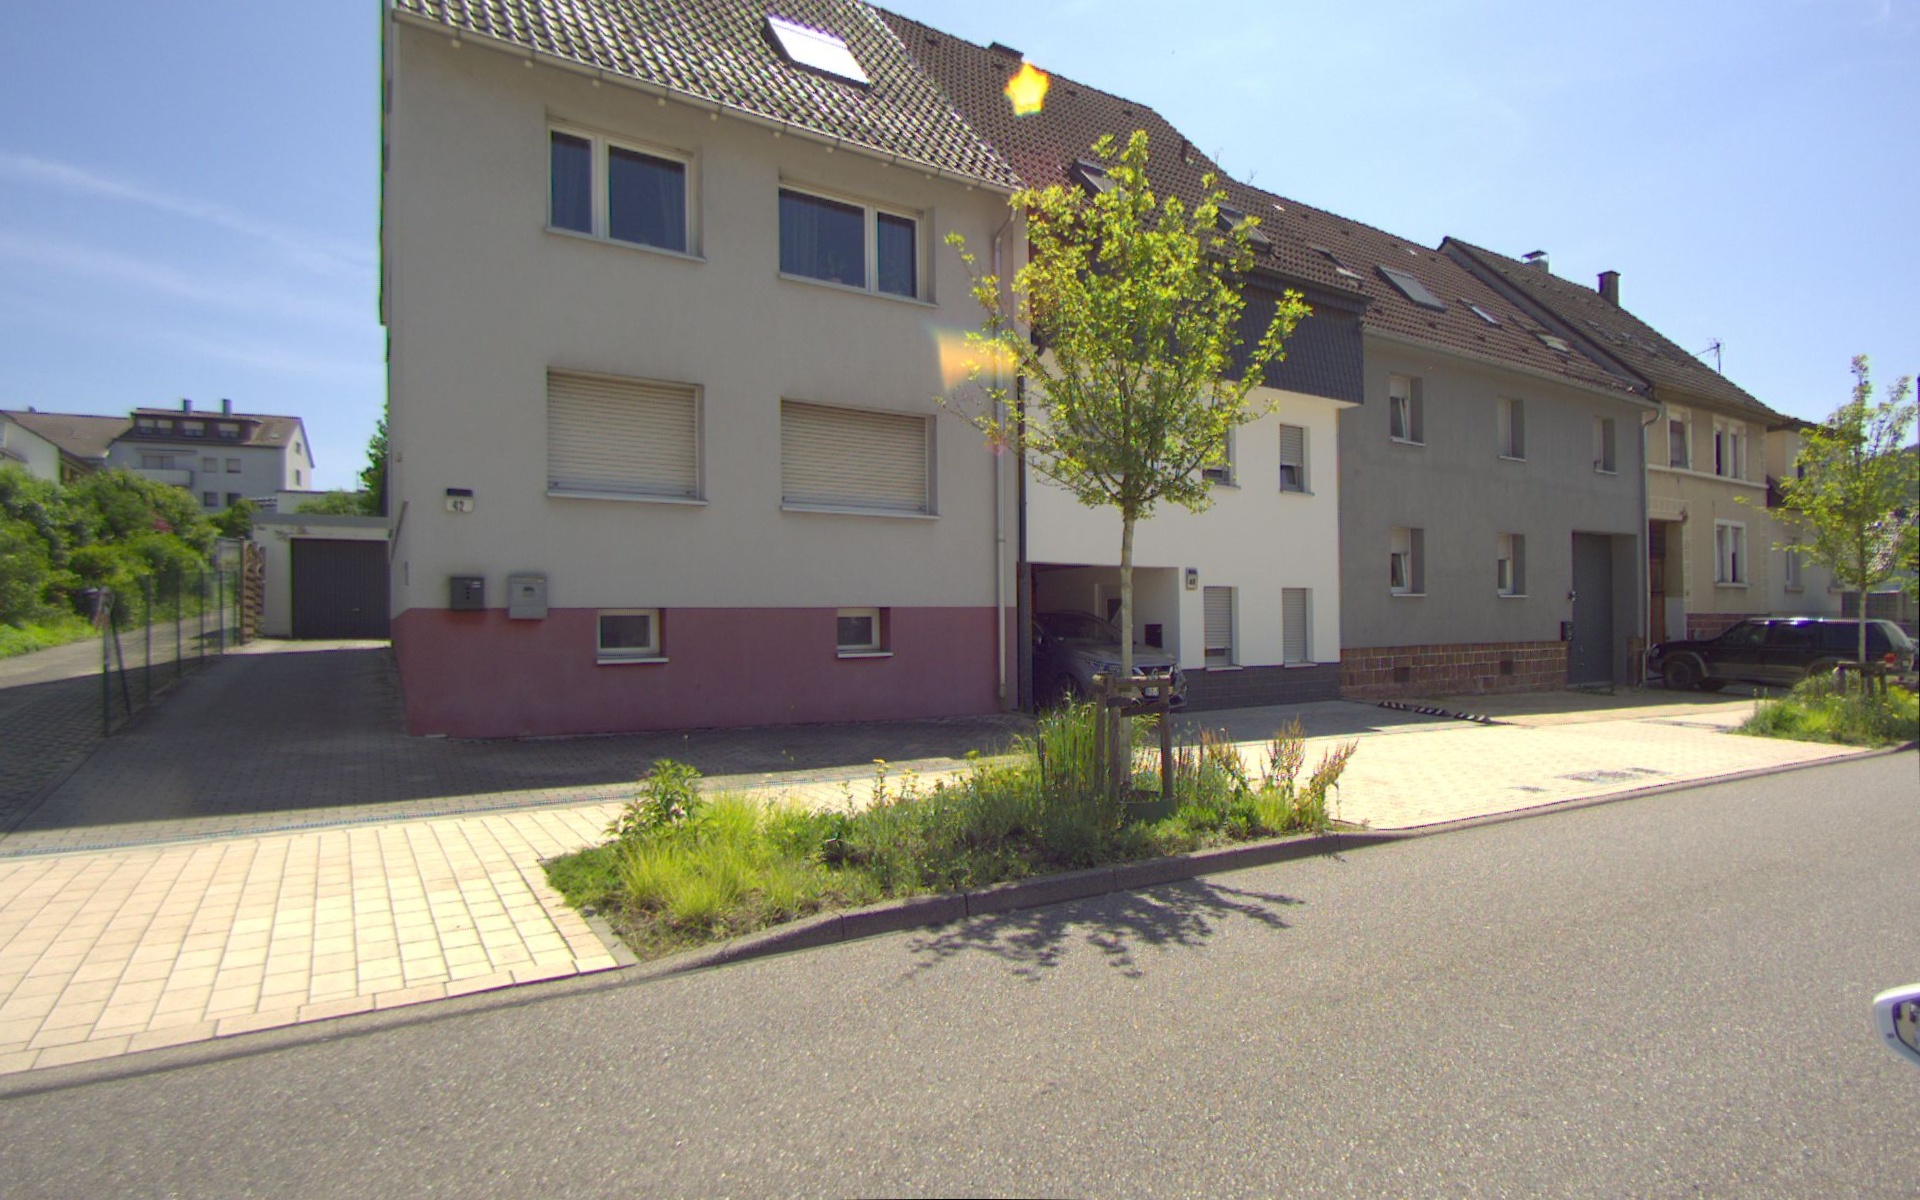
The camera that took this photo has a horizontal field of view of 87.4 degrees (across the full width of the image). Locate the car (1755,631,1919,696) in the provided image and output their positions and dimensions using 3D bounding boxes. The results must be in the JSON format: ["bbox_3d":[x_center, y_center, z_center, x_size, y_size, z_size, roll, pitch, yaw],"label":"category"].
[{"bbox_3d":[22.023,1.528,25.040,1.665,1.458,3.553,1,-1,1],"label":"car"}]

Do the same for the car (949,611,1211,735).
[{"bbox_3d":[1.643,0.966,15.010,1.812,1.566,3.965,1,-1,-32],"label":"car"}]

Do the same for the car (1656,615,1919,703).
[{"bbox_3d":[18.608,1.240,22.720,1.858,1.773,4.368,1,-1,-33],"label":"car"}]

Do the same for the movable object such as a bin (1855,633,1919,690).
[{"bbox_3d":[23.775,1.547,25.646,1.386,1.337,0.985,-2,1,-29],"label":"movable object such as a bin"}]
